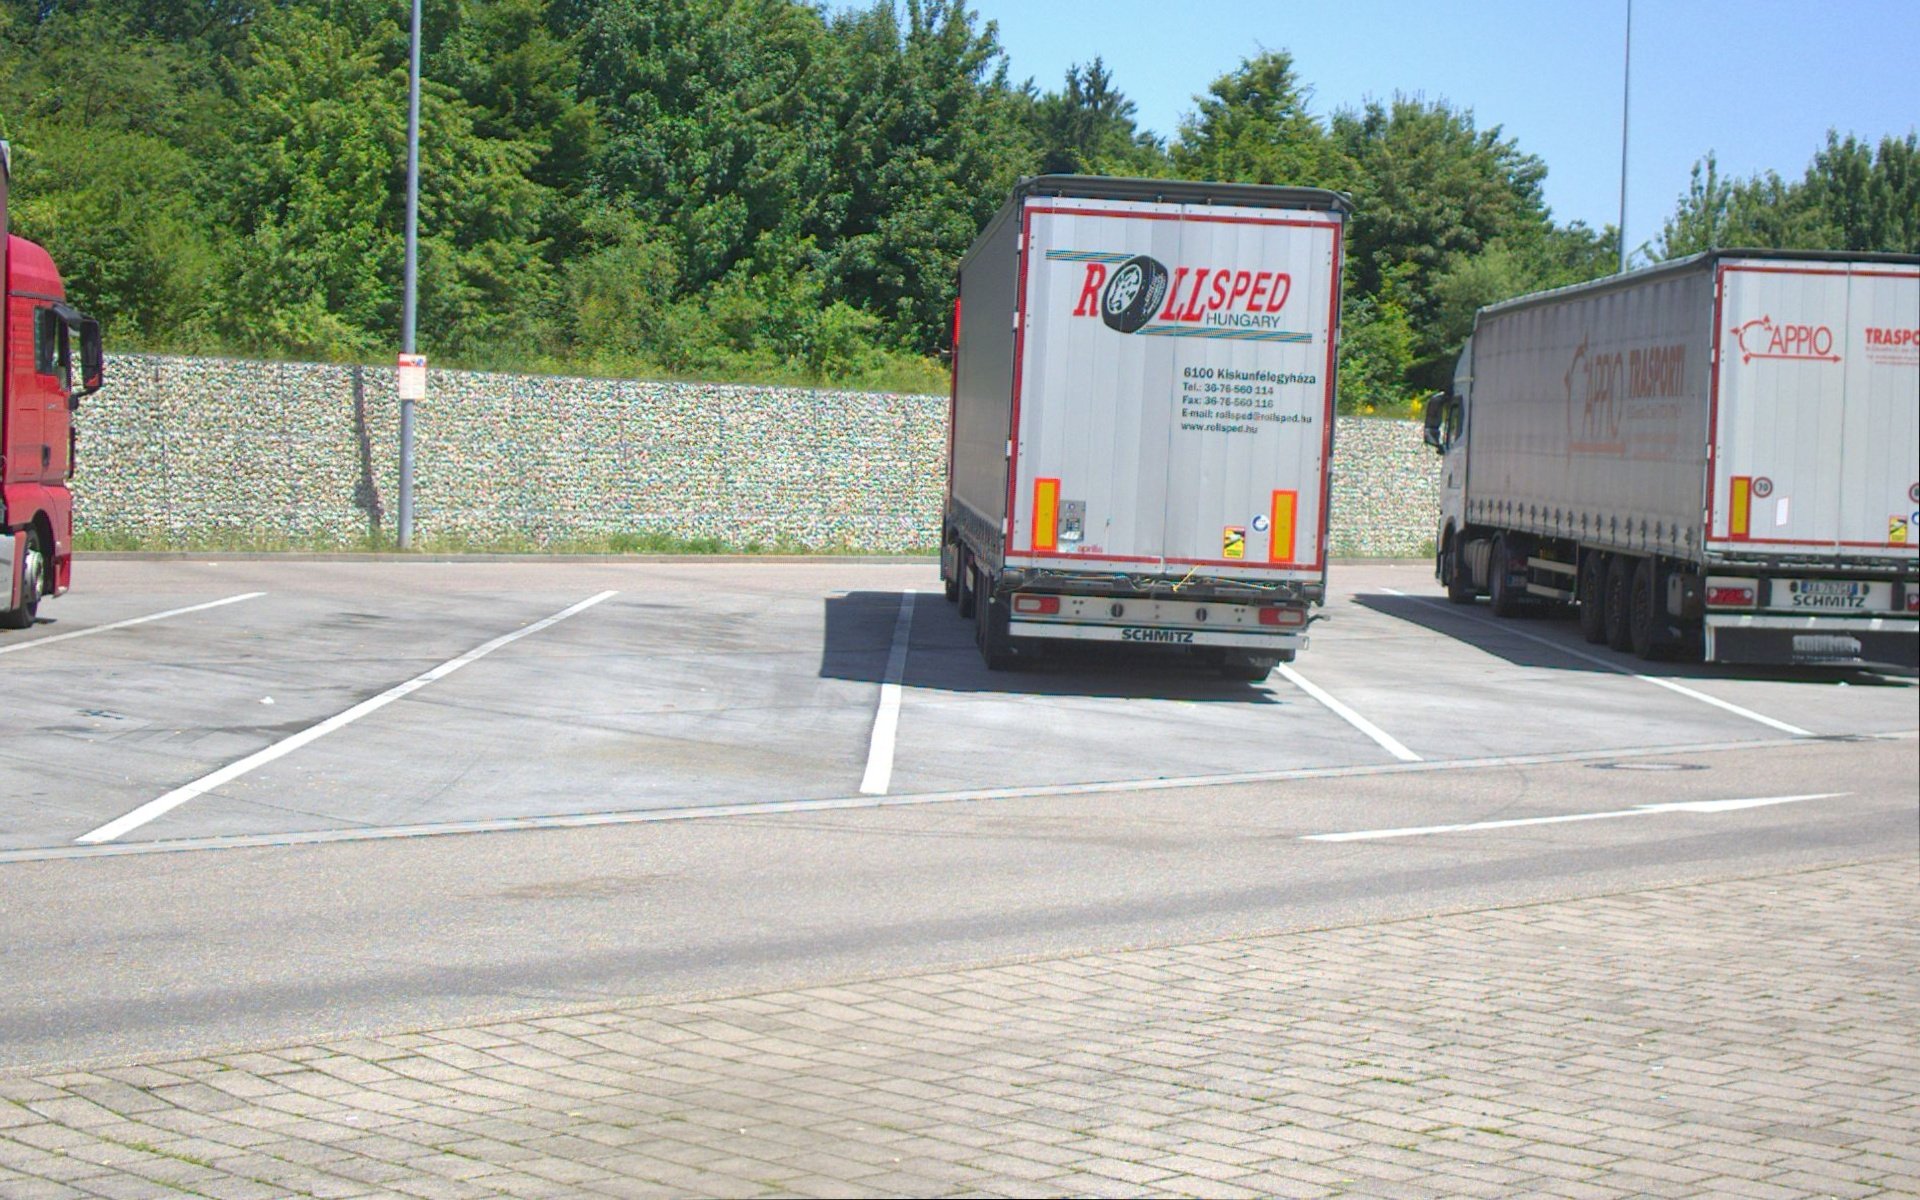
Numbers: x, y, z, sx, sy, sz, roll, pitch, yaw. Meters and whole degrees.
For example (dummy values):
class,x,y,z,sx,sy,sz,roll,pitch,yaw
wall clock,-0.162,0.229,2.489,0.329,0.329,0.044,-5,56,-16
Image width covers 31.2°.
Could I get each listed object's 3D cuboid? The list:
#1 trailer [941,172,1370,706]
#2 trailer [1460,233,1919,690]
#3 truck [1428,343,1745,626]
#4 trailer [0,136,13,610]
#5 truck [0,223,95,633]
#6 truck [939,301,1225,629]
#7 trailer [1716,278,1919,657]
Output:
class,x,y,z,sx,sy,sz,roll,pitch,yaw
trailer,1.452,-1.563,33.094,2.858,3.958,13.765,2,3,-1
trailer,8.181,-1.583,38.348,2.858,4.095,13.765,2,3,-1
truck,8.080,-1.562,45.114,2.865,3.351,5.975,2,3,-1
trailer,-9.171,-1.462,21.353,2.821,4.057,13.765,2,3,-1
truck,-9.259,-1.451,28.172,2.812,3.351,5.975,2,3,-1
truck,1.269,-1.567,39.295,2.865,3.351,5.975,2,3,-1
trailer,11.779,-1.499,39.360,2.858,4.095,13.765,2,3,-1
